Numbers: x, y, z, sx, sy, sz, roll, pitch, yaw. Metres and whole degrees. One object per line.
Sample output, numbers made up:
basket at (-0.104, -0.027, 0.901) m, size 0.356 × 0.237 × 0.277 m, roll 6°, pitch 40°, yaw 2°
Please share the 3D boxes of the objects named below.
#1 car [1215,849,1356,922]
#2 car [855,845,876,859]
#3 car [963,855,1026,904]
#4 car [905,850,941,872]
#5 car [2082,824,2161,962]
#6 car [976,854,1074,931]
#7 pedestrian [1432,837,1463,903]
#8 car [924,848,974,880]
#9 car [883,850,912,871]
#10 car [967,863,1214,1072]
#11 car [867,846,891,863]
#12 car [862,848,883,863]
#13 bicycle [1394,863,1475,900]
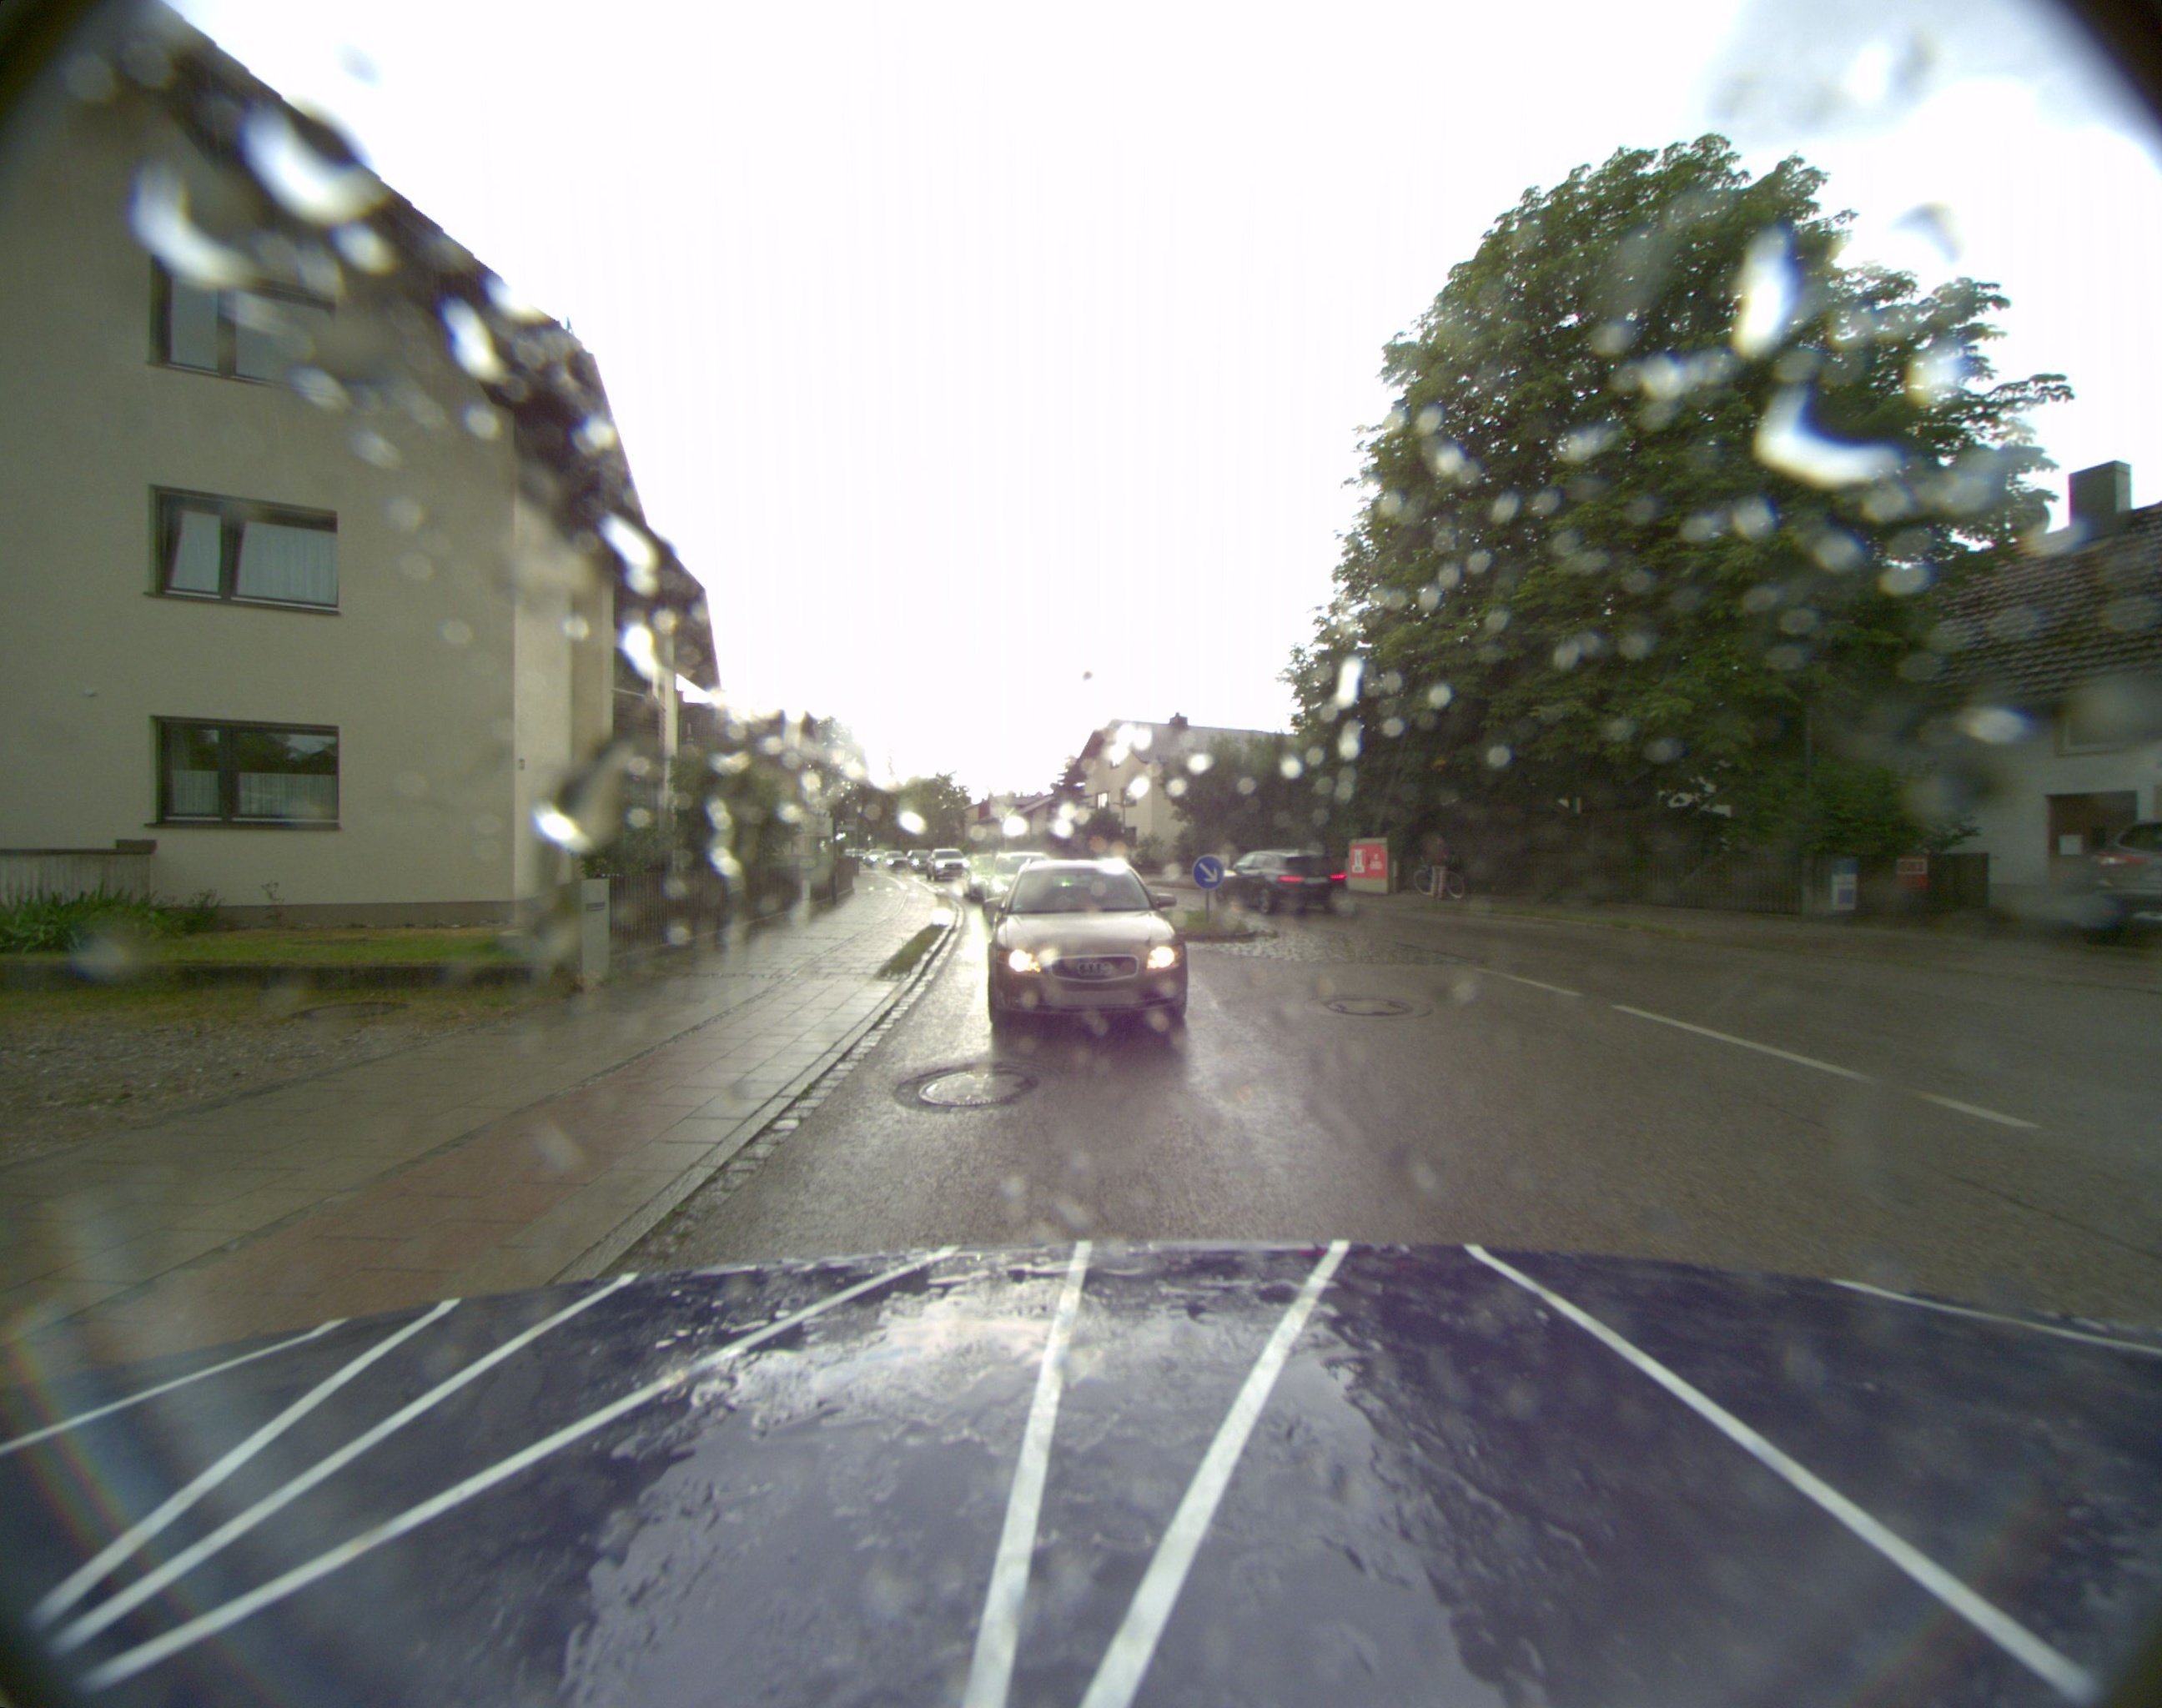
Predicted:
car at (4.665, 0.650, 18.020) m, size 1.817 × 1.482 × 4.056 m, roll -1°, pitch 0°, yaw -7°
car at (-26.872, -0.245, 94.690) m, size 1.797 × 1.539 × 4.272 m, roll -3°, pitch 1°, yaw -24°
car at (-2.948, 0.773, 25.143) m, size 1.795 × 1.387 × 4.277 m, roll -2°, pitch 1°, yaw -10°
car at (-11.147, 0.478, 53.437) m, size 1.797 × 1.365 × 4.273 m, roll -3°, pitch 1°, yaw -21°
car at (14.098, 0.463, 9.243) m, size 4.288 × 1.539 × 1.813 m, roll 1°, pitch 0°, yaw -31°
car at (-1.500, 0.777, 18.196) m, size 1.795 × 1.470 × 5.380 m, roll -2°, pitch 1°, yaw -10°
pedestrian at (9.156, 0.399, 18.974) m, size 0.652 × 1.619 × 0.480 m, roll 0°, pitch 1°, yaw 29°
car at (-7.034, 0.512, 40.121) m, size 1.797 × 1.539 × 4.273 m, roll -3°, pitch 1°, yaw -21°
car at (-15.220, 0.523, 62.886) m, size 1.797 × 1.539 × 4.273 m, roll -3°, pitch 1°, yaw -21°
car at (-0.031, 0.870, 7.817) m, size 1.794 × 1.387 × 4.279 m, roll -2°, pitch 1°, yaw -3°
car at (-19.767, 0.038, 74.224) m, size 1.797 × 1.539 × 4.273 m, roll -3°, pitch 1°, yaw -21°
car at (-23.052, 0.130, 84.005) m, size 1.797 × 1.539 × 4.273 m, roll -3°, pitch 1°, yaw -21°
bicycle at (9.254, 0.703, 19.951) m, size 0.665 × 0.897 × 1.869 m, roll -2°, pitch 1°, yaw -32°
